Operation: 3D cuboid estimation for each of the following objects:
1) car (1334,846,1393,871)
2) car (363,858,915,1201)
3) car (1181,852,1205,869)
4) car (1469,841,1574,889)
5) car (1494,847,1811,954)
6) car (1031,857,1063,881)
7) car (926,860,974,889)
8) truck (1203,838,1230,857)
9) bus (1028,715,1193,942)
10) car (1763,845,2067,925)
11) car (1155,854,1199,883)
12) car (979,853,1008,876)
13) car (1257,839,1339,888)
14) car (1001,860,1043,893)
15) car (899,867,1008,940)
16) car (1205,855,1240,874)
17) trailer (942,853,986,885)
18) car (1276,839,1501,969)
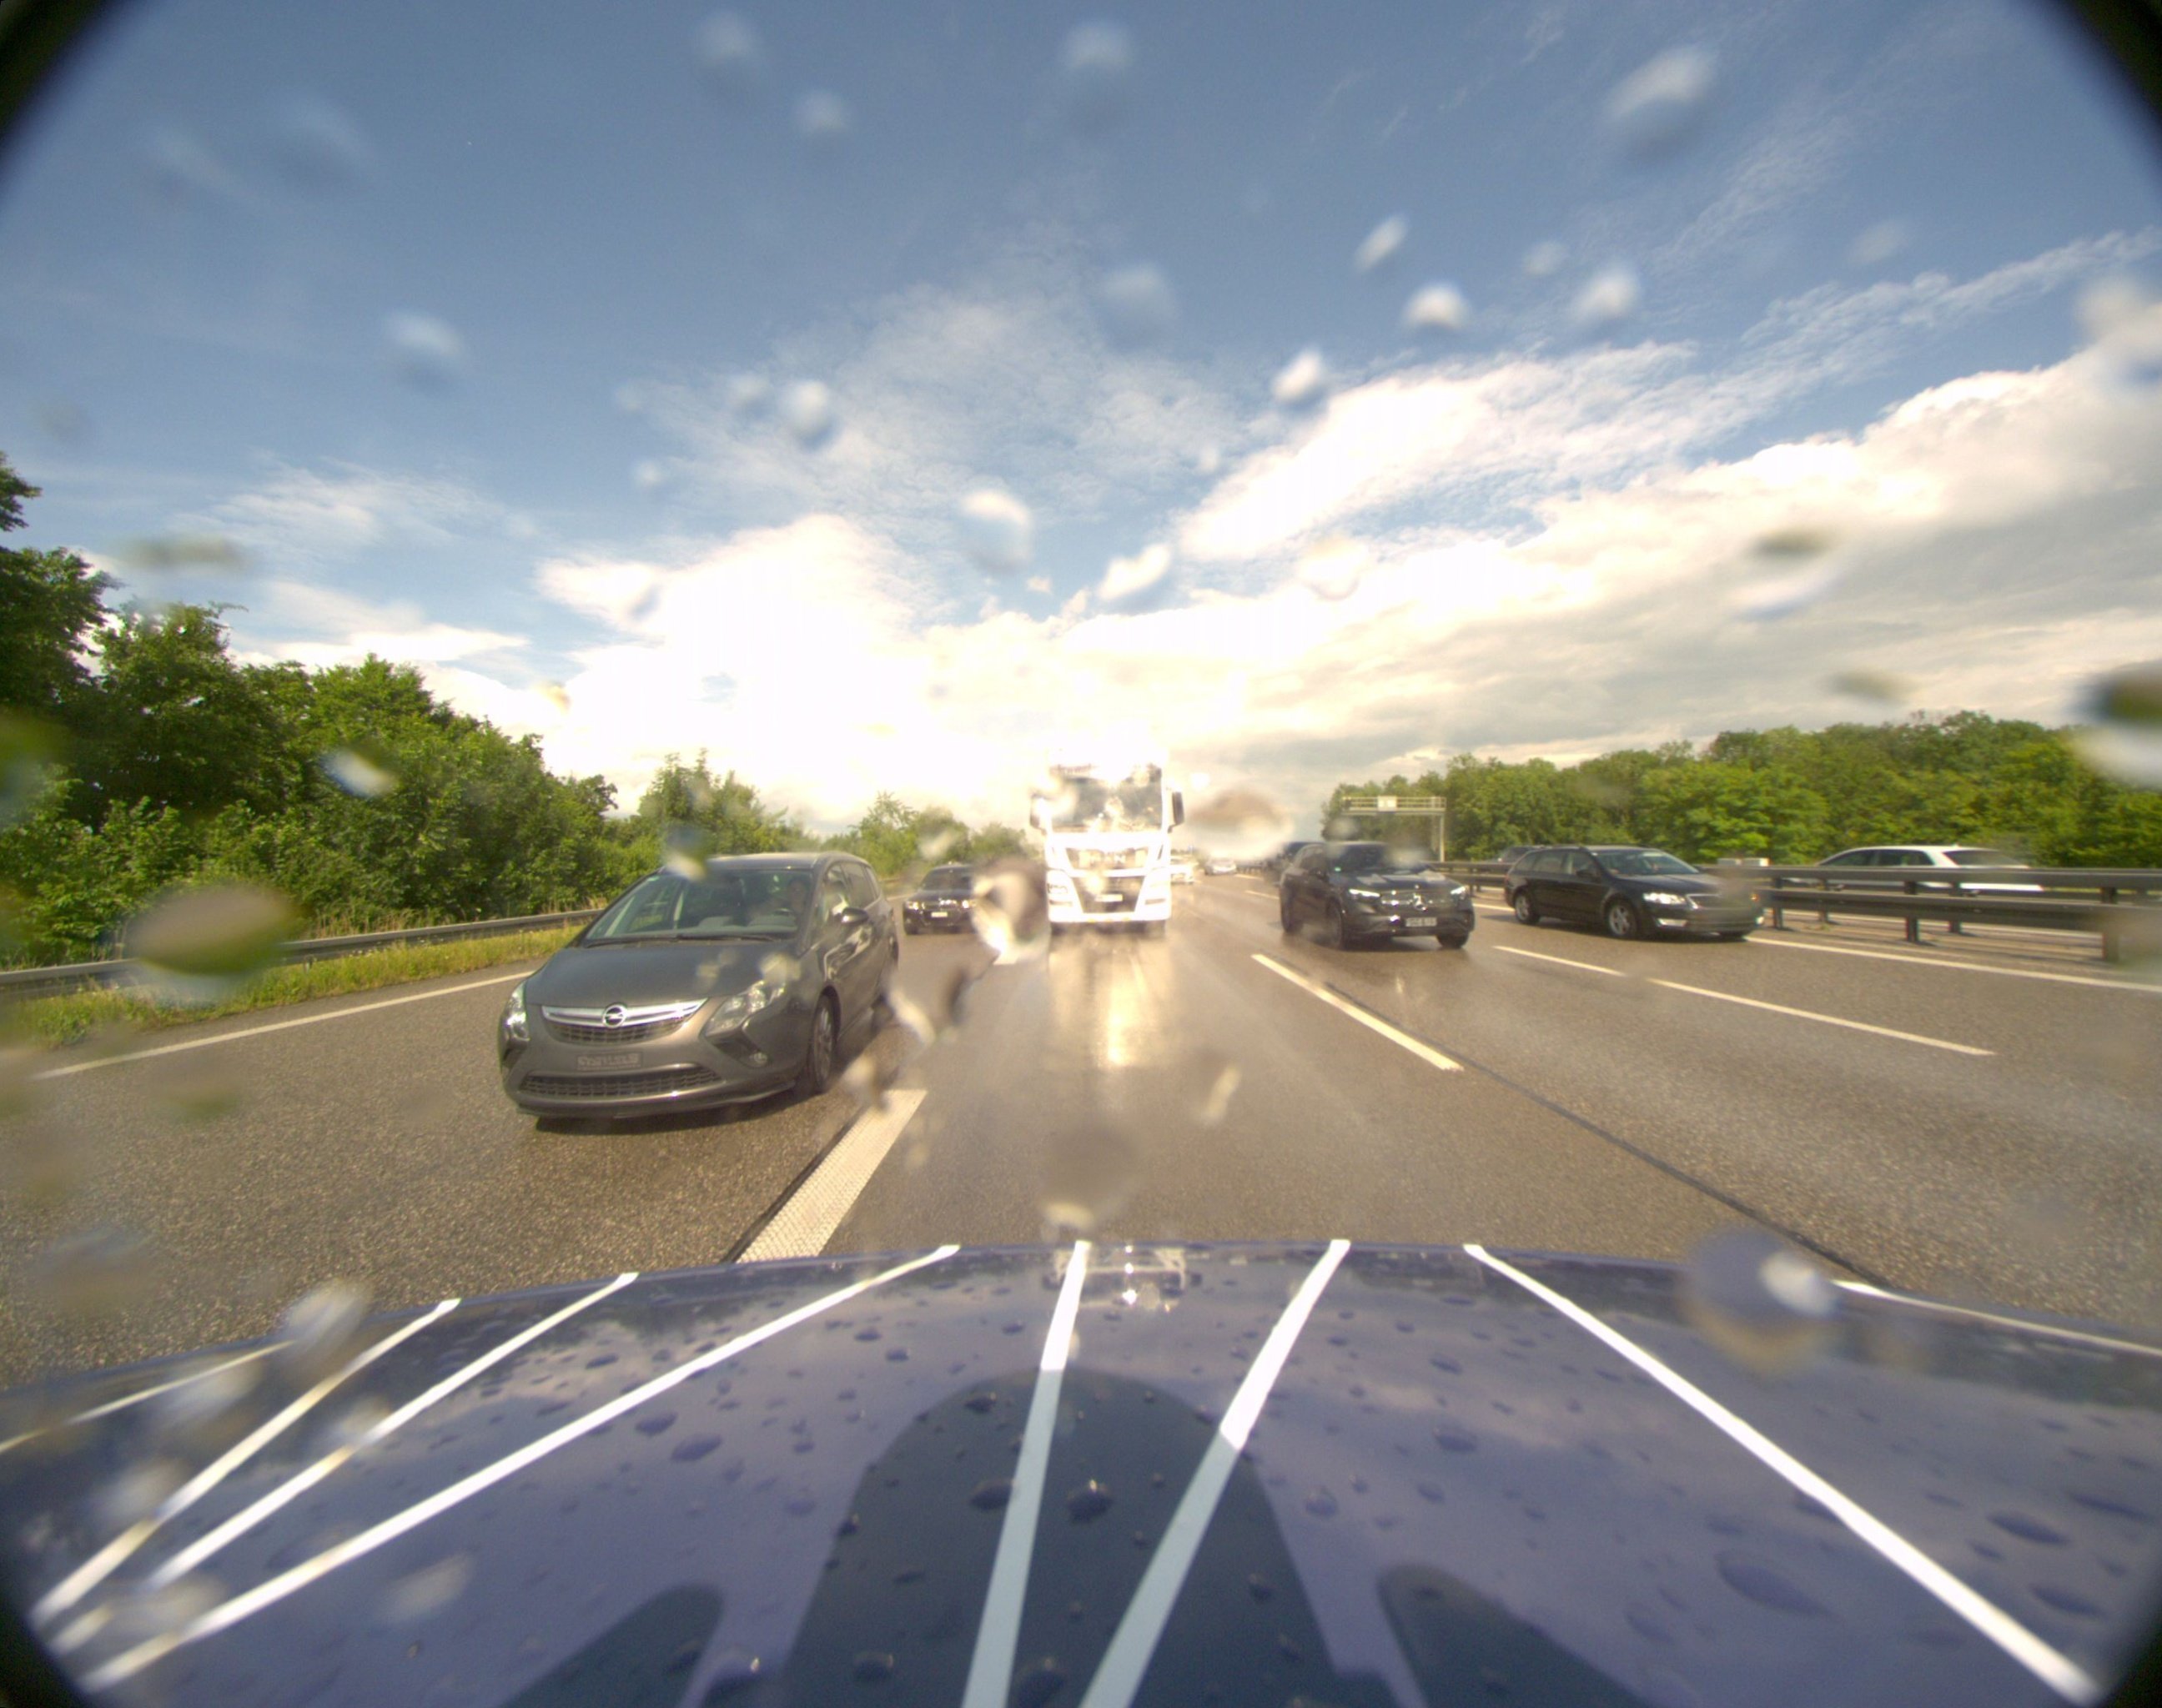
[{"bbox_3d":[16.732,0.239,45.269,1.872,1.346,4.493,-2,0,1],"label":"car"},{"bbox_3d":[-2.714,0.887,6.184,1.859,1.622,4.734,-2,0,-3],"label":"car"},{"bbox_3d":[10.152,0.592,68.937,1.618,1.412,4.000,-2,0,1],"label":"car"},{"bbox_3d":[20.145,0.453,35.070,1.856,2.002,5.077,-2,1,0],"label":"car"},{"bbox_3d":[9.033,0.628,12.607,1.925,1.416,4.371,-2,0,0],"label":"car"},{"bbox_3d":[-2.166,0.955,49.413,1.858,1.433,3.999,-2,0,-1],"label":"car"},{"bbox_3d":[-7.088,1.077,41.513,1.747,1.422,4.405,-2,0,2],"label":"car"},{"bbox_3d":[22.698,-1.017,127.662,2.923,2.969,8.721,-2,1,0],"label":"truck"},{"bbox_3d":[0.601,-0.473,19.015,2.904,4.104,9.845,-2,0,1],"label":"bus"},{"bbox_3d":[16.939,0.543,15.787,1.867,1.383,3.999,-2,1,-2],"label":"car"},{"bbox_3d":[4.972,0.715,39.717,1.809,1.389,4.240,-1,0,1],"label":"car"},{"bbox_3d":[-6.029,0.704,52.850,1.616,1.480,3.480,-2,0,-1],"label":"car"},{"bbox_3d":[9.144,0.365,32.517,1.998,1.906,5.235,-2,0,0],"label":"car"},{"bbox_3d":[-2.664,0.983,34.916,1.744,1.357,3.999,-2,0,-3],"label":"car"},{"bbox_3d":[-2.750,1.027,17.211,1.722,1.346,3.884,-2,0,1],"label":"car"},{"bbox_3d":[9.863,0.693,53.042,1.857,1.182,3.583,-2,0,2],"label":"car"},{"bbox_3d":[-6.977,0.858,45.698,1.810,1.736,3.968,-3,0,2],"label":"trailer"},{"bbox_3d":[4.653,0.651,12.334,1.881,1.669,4.626,-2,0,2],"label":"car"}]
